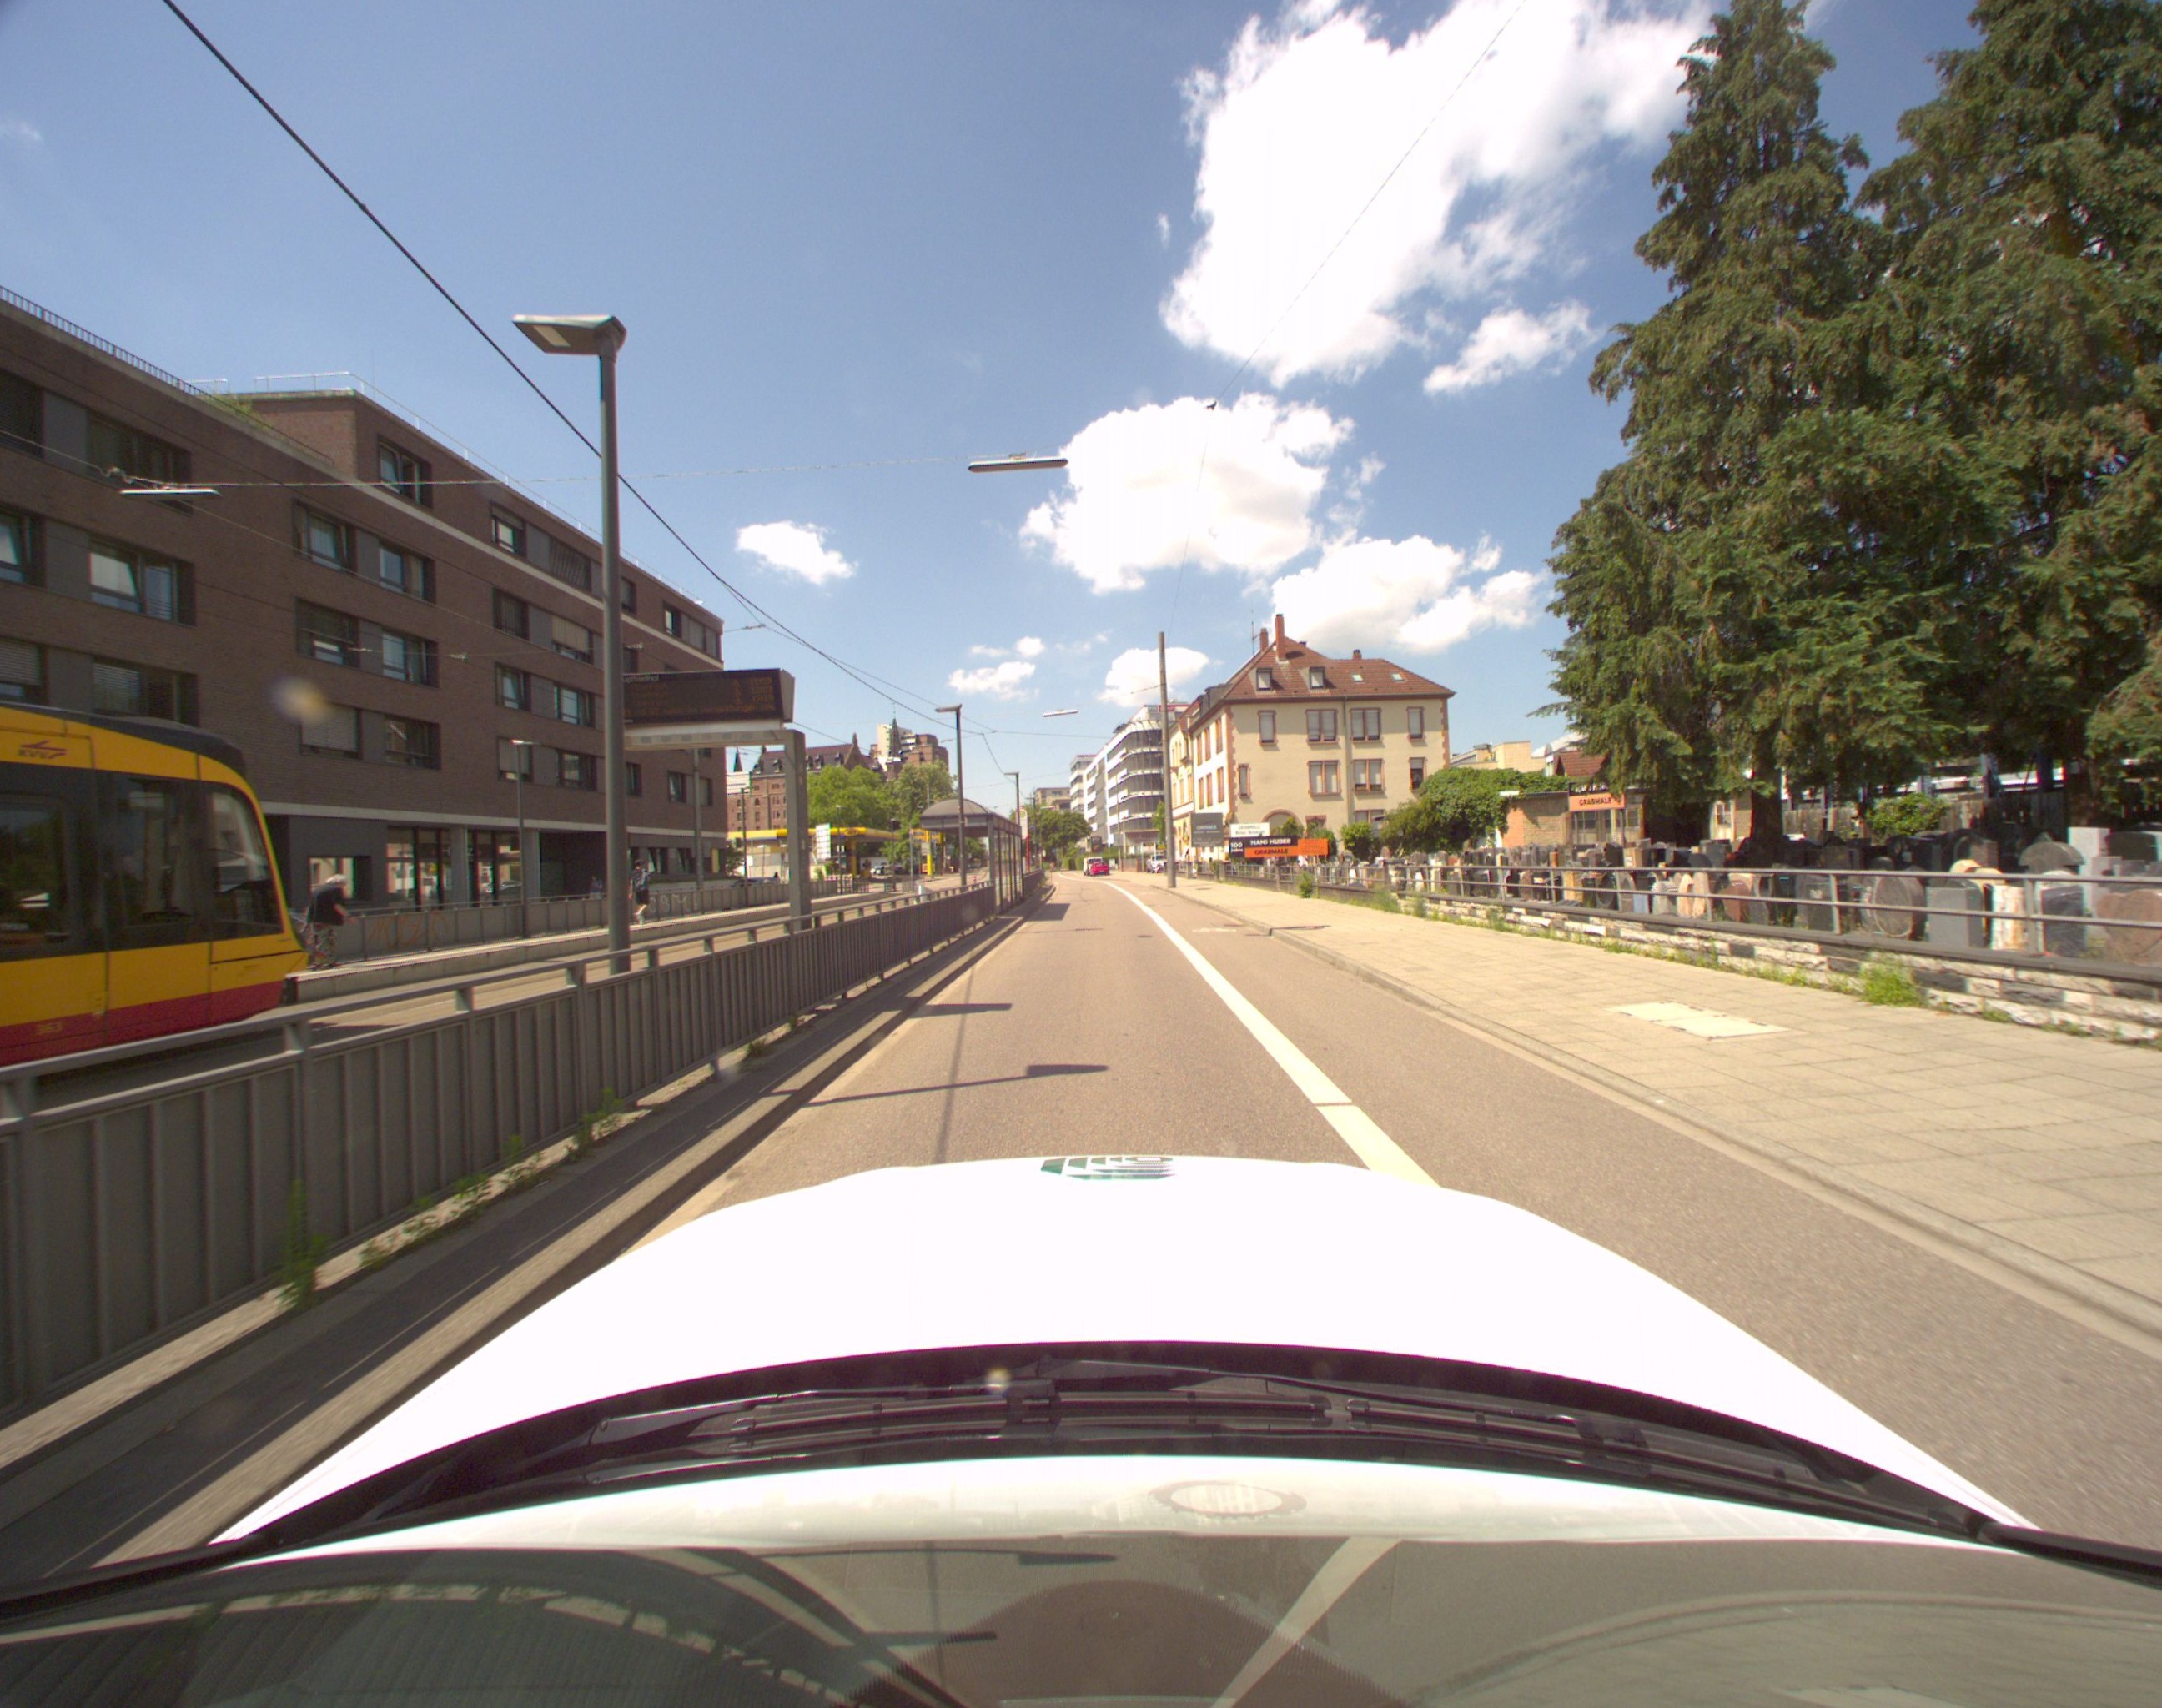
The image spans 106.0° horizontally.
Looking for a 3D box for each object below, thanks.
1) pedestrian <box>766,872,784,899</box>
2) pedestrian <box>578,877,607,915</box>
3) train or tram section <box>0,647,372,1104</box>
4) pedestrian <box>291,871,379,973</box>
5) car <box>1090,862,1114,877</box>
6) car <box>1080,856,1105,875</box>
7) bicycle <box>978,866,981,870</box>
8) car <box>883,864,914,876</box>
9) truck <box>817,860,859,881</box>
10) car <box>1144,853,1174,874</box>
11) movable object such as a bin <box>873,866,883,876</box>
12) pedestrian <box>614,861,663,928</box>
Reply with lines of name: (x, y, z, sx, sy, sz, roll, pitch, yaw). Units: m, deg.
pedestrian: (-18.996, 1.947, 50.548, 0.758, 1.596, 0.999, 1, -1, -4)
pedestrian: (-21.128, 1.816, 35.232, 0.683, 1.596, 0.761, -3, -1, 0)
train or tram section: (-10.188, 0.166, 1.367, 3.223, 3.567, 16.354, -3, -1, 2)
pedestrian: (-12.324, 1.103, 13.475, 0.683, 1.596, 0.761, -3, -1, 0)
car: (2.117, 1.571, 83.545, 1.990, 1.442, 4.010, -2, -1, -4)
car: (1.270, 1.260, 90.297, 1.991, 1.991, 5.502, -4, 0, -6)
bicycle: (-28.084, 3.927, 226.310, 0.700, 1.204, 2.235, -4, -1, -6)
car: (-27.565, 2.362, 123.041, 1.974, 1.590, 4.361, -3, -1, 38)
truck: (-30.246, 2.066, 101.637, 1.975, 2.498, 5.233, -2, -1, 24)
car: (7.018, 0.849, 73.755, 1.874, 1.624, 4.633, -5, 0, -3)
movable object such as a bin: (-30.670, 2.580, 123.058, 1.337, 1.354, 0.759, -2, -1, 5)
pedestrian: (-12.129, 1.077, 22.344, 0.683, 1.760, 1.033, -3, -1, 0)
